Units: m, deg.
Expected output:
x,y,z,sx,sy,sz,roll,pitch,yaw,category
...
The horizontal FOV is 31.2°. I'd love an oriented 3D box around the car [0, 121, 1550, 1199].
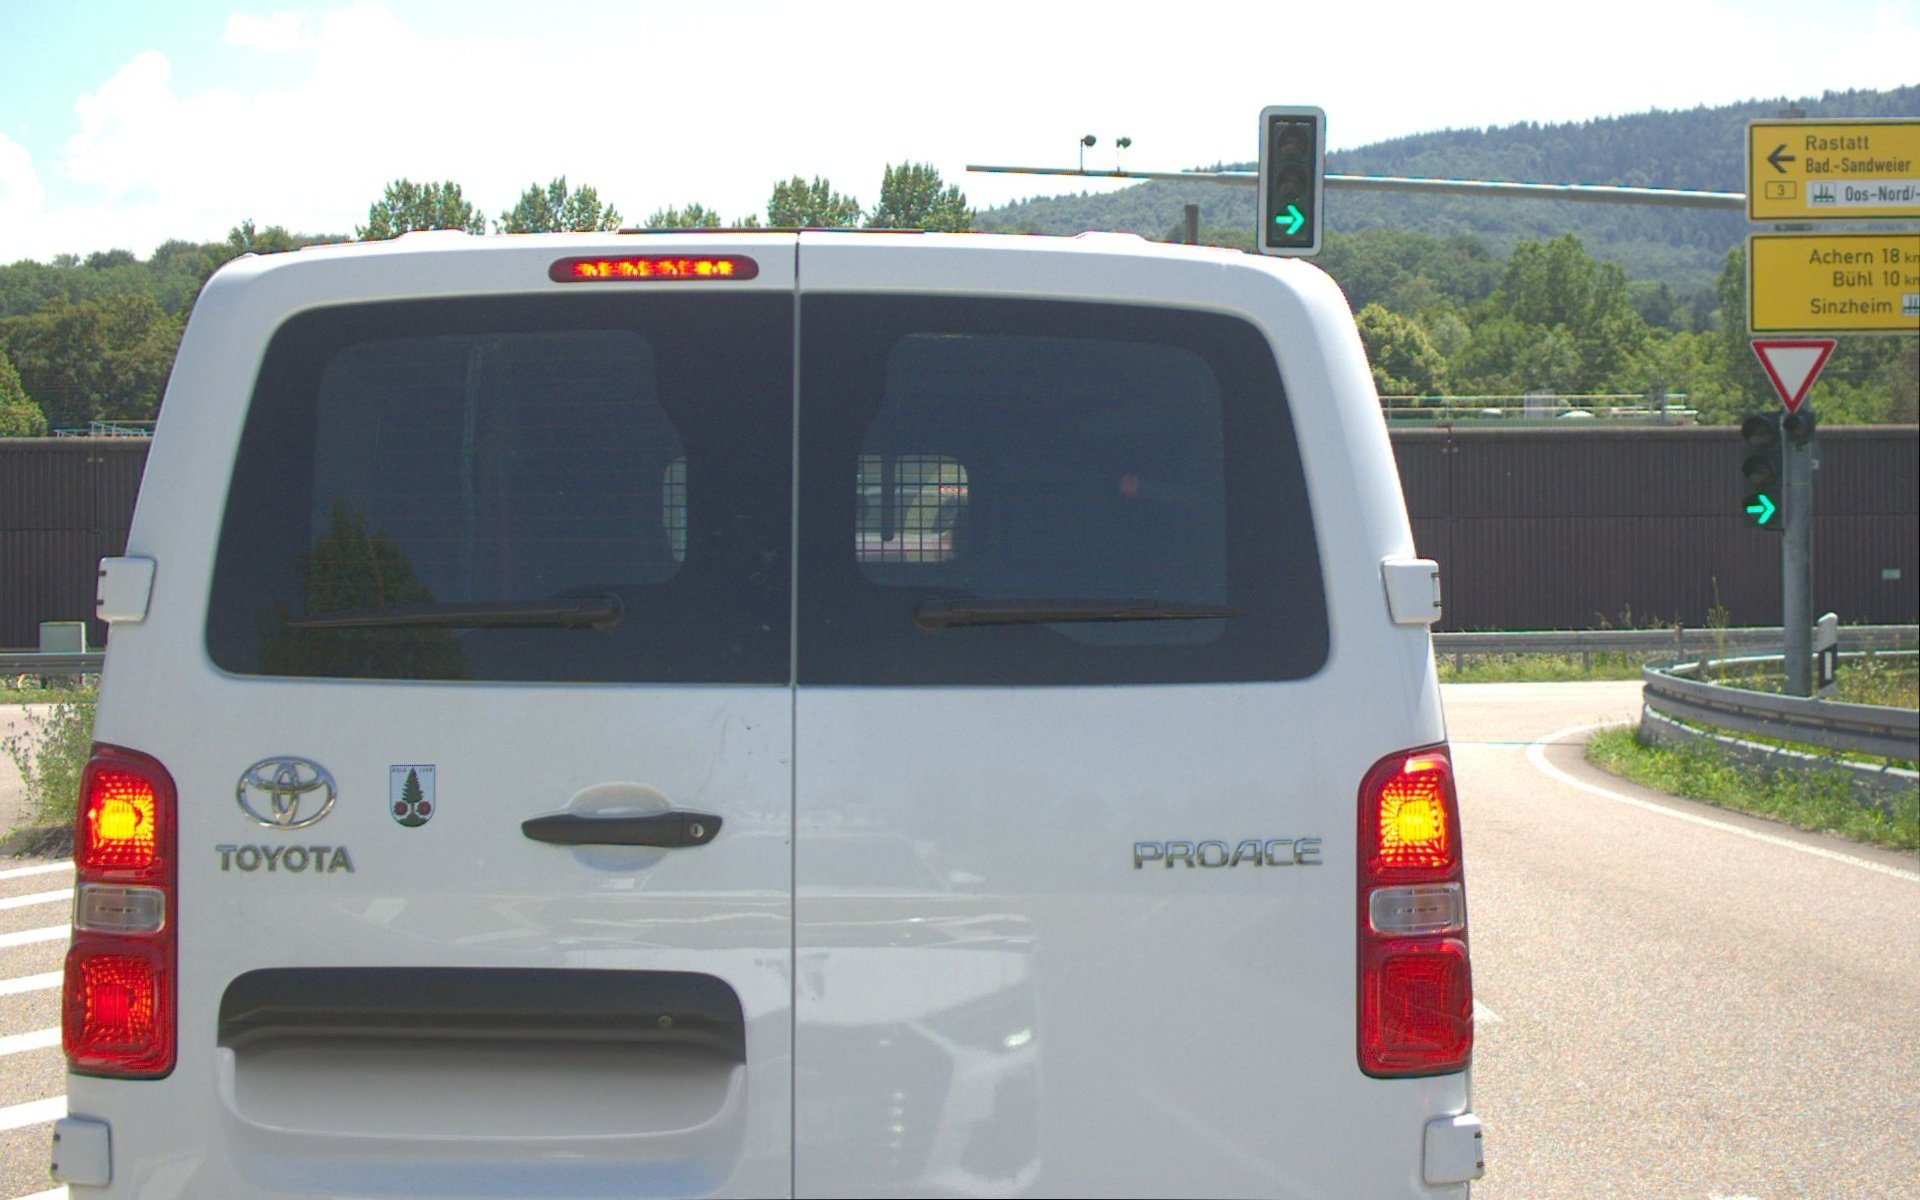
x,y,z,sx,sy,sz,roll,pitch,yaw,category
-0.257,0.440,5.942,1.814,2.011,4.000,0,1,-1,car
